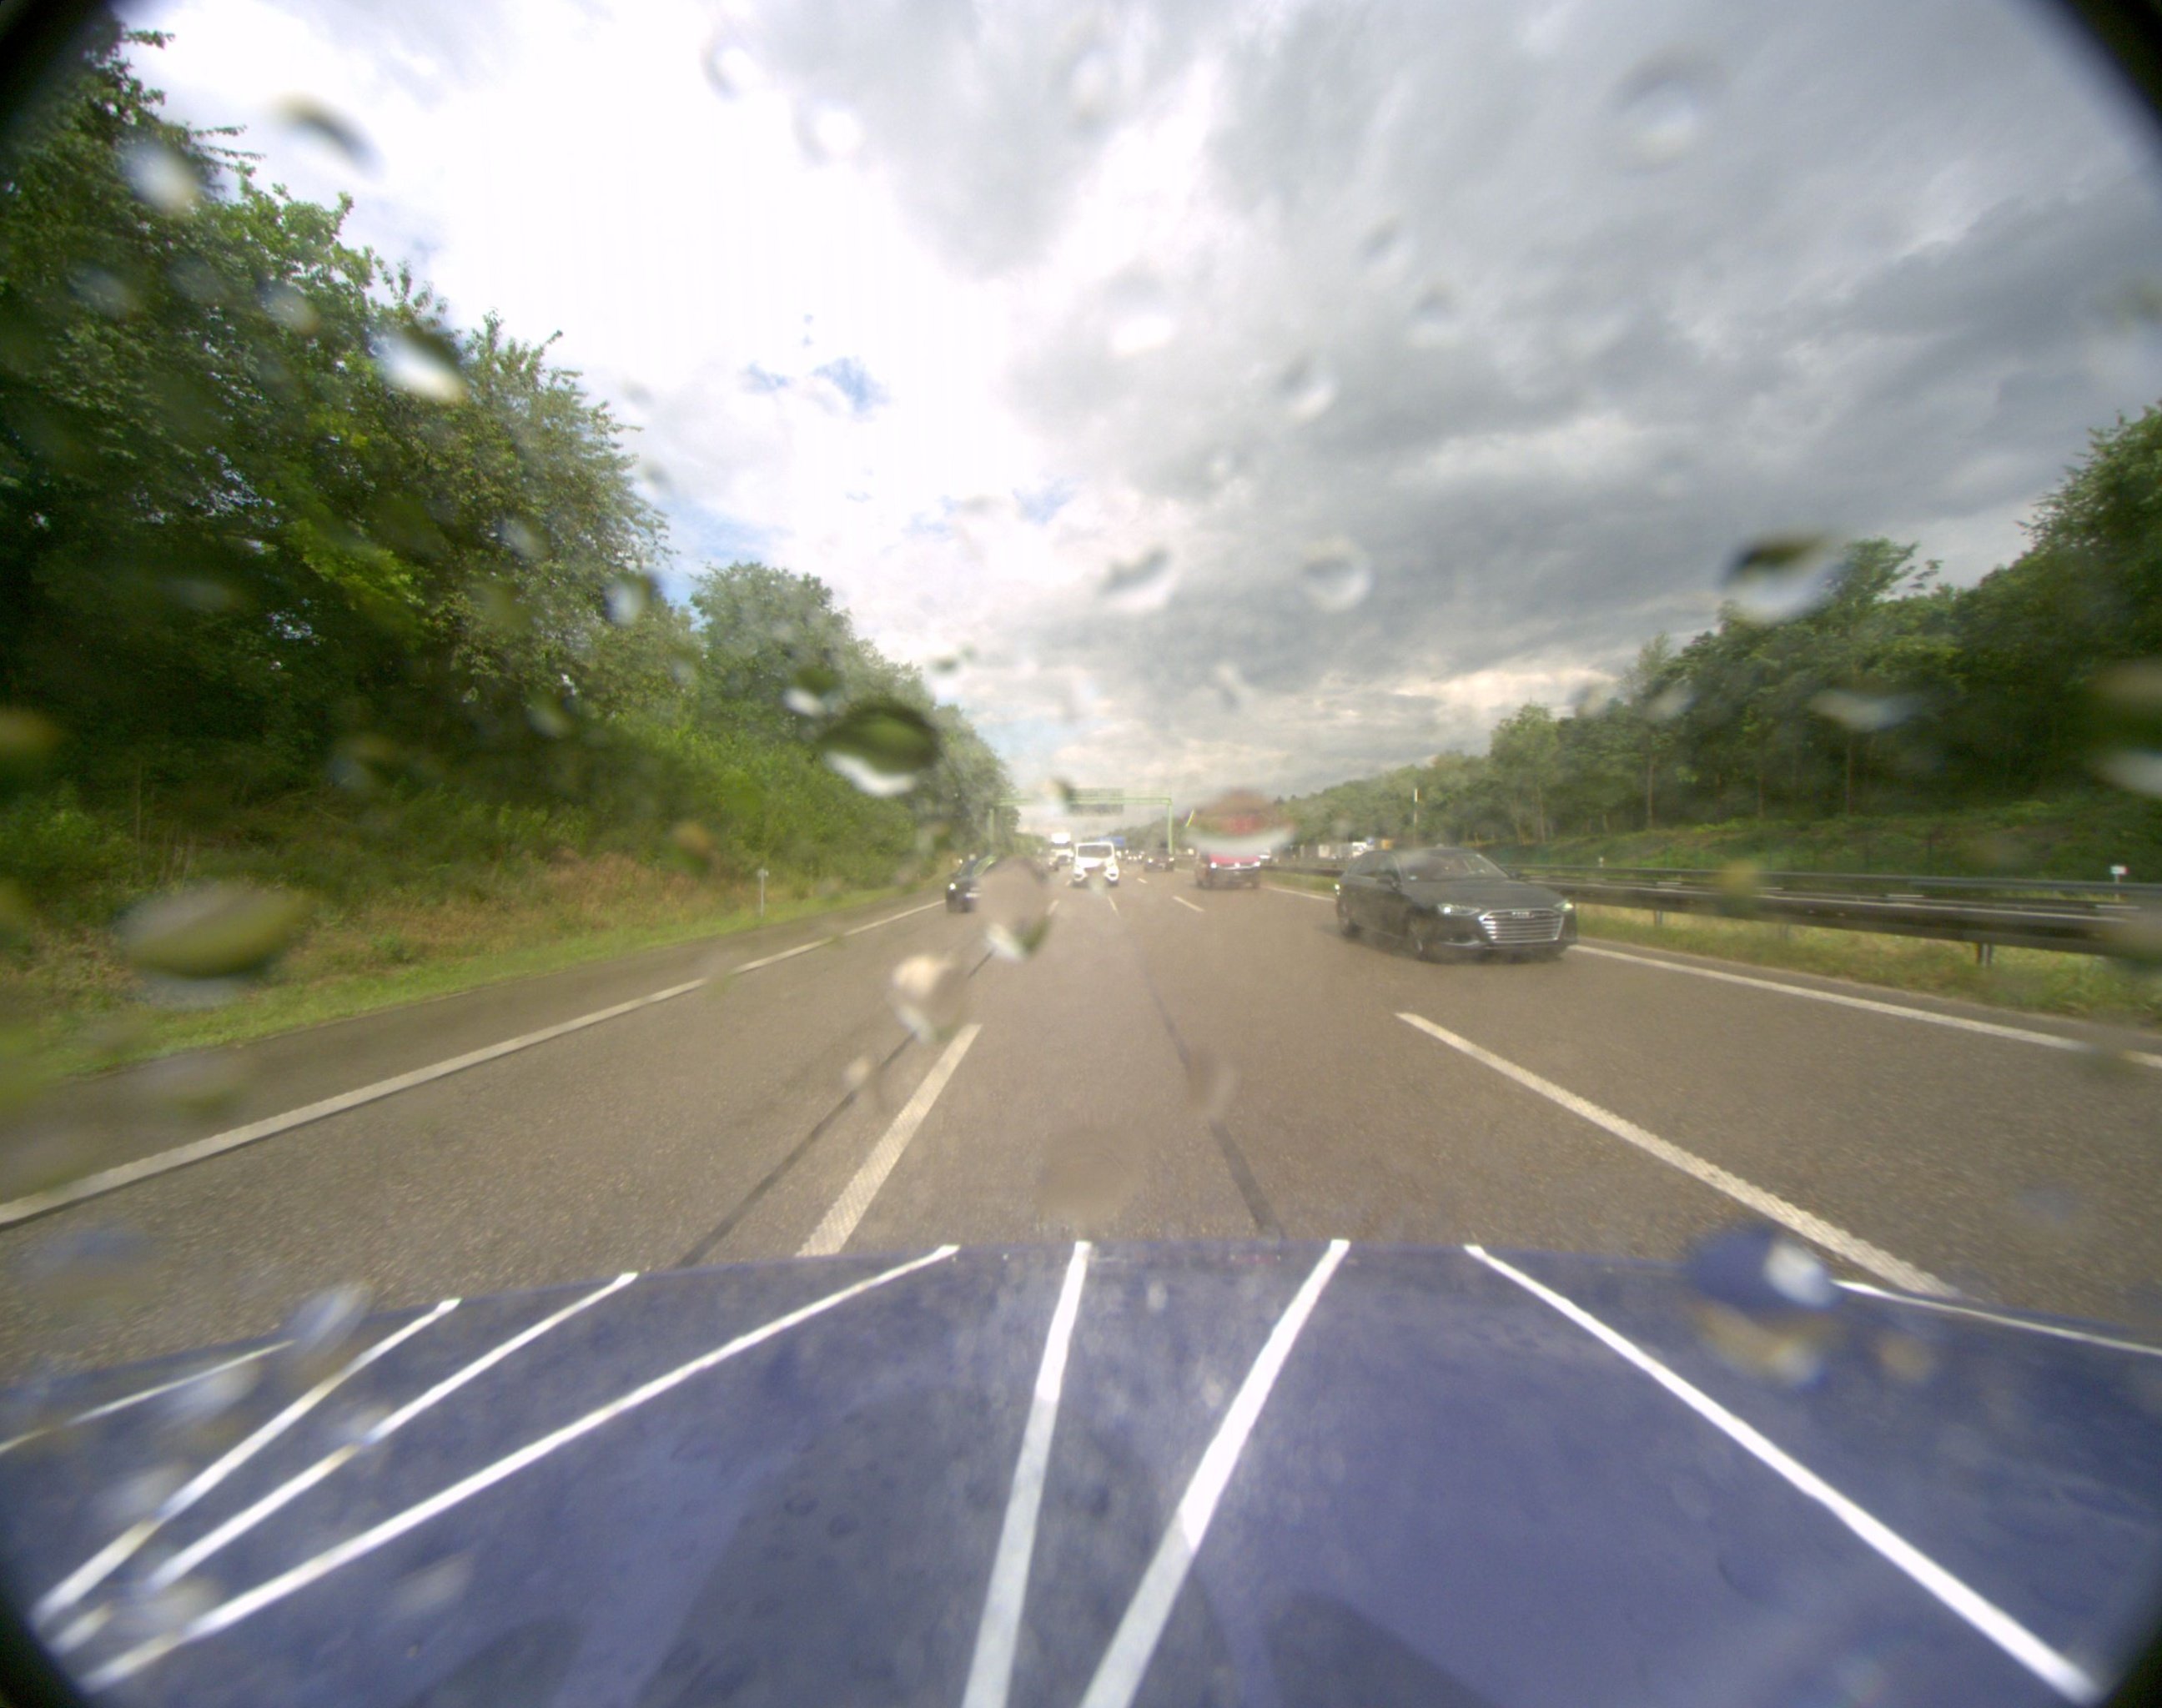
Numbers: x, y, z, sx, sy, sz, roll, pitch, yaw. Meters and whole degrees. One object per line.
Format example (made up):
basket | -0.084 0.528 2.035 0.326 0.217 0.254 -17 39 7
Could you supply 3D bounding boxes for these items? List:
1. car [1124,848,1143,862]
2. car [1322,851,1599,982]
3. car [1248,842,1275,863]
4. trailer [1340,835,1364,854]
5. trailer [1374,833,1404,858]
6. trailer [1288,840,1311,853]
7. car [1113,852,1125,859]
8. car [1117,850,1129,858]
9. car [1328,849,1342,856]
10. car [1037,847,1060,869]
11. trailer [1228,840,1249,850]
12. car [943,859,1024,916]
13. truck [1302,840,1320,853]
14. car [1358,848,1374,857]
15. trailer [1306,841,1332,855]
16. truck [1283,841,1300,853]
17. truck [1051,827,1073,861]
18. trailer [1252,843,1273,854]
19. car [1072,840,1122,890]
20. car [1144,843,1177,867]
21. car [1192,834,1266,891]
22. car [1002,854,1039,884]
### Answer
car | 6.015 0.072 87.394 1.895 1.558 4.053 -2 1 0
car | 5.038 0.704 10.895 1.723 1.403 4.467 -2 1 0
car | 18.632 -0.212 78.711 1.998 2.002 4.807 -2 1 6
trailer | 53.148 -1.824 149.191 2.187 3.579 11.725 0 0 8
trailer | 48.530 -1.463 119.993 1.997 3.673 13.669 -2 1 13
trailer | 57.715 -1.955 200.935 2.611 3.253 12.646 0 1 0
car | 6.893 0.295 138.915 1.888 1.228 4.506 -2 0 0
car | 7.109 0.045 128.660 1.675 1.228 3.999 -2 0 0
car | 55.782 -0.316 166.867 1.899 1.494 4.001 0 0 4
car | -2.878 0.323 68.446 1.831 1.793 5.305 -2 0 0
trailer | 54.045 -3.095 260.794 3.086 3.253 13.400 0 1 -6
car | -2.729 0.900 22.172 1.759 1.388 4.368 -2 1 0
truck | 57.337 -1.747 189.551 3.049 3.165 5.597 0 1 2
car | 51.726 -0.296 138.130 1.898 1.494 4.002 0 1 8
trailer | 57.033 -1.359 182.389 3.026 3.174 12.175 0 0 2
truck | 57.739 -2.056 208.530 2.582 3.232 6.535 0 1 0
truck | -2.386 -1.283 97.371 2.460 4.080 5.332 -2 0 0
trailer | 56.282 -1.614 235.967 3.193 3.253 12.644 0 1 -2
car | 0.647 0.430 33.718 1.985 1.973 5.168 -2 0 0
car | 5.776 0.045 55.664 1.895 1.660 4.294 -2 1 0
car | 5.560 0.285 29.167 1.895 1.973 4.750 0 0 0
car | -3.133 0.743 40.014 1.655 1.448 3.744 -2 1 -1
